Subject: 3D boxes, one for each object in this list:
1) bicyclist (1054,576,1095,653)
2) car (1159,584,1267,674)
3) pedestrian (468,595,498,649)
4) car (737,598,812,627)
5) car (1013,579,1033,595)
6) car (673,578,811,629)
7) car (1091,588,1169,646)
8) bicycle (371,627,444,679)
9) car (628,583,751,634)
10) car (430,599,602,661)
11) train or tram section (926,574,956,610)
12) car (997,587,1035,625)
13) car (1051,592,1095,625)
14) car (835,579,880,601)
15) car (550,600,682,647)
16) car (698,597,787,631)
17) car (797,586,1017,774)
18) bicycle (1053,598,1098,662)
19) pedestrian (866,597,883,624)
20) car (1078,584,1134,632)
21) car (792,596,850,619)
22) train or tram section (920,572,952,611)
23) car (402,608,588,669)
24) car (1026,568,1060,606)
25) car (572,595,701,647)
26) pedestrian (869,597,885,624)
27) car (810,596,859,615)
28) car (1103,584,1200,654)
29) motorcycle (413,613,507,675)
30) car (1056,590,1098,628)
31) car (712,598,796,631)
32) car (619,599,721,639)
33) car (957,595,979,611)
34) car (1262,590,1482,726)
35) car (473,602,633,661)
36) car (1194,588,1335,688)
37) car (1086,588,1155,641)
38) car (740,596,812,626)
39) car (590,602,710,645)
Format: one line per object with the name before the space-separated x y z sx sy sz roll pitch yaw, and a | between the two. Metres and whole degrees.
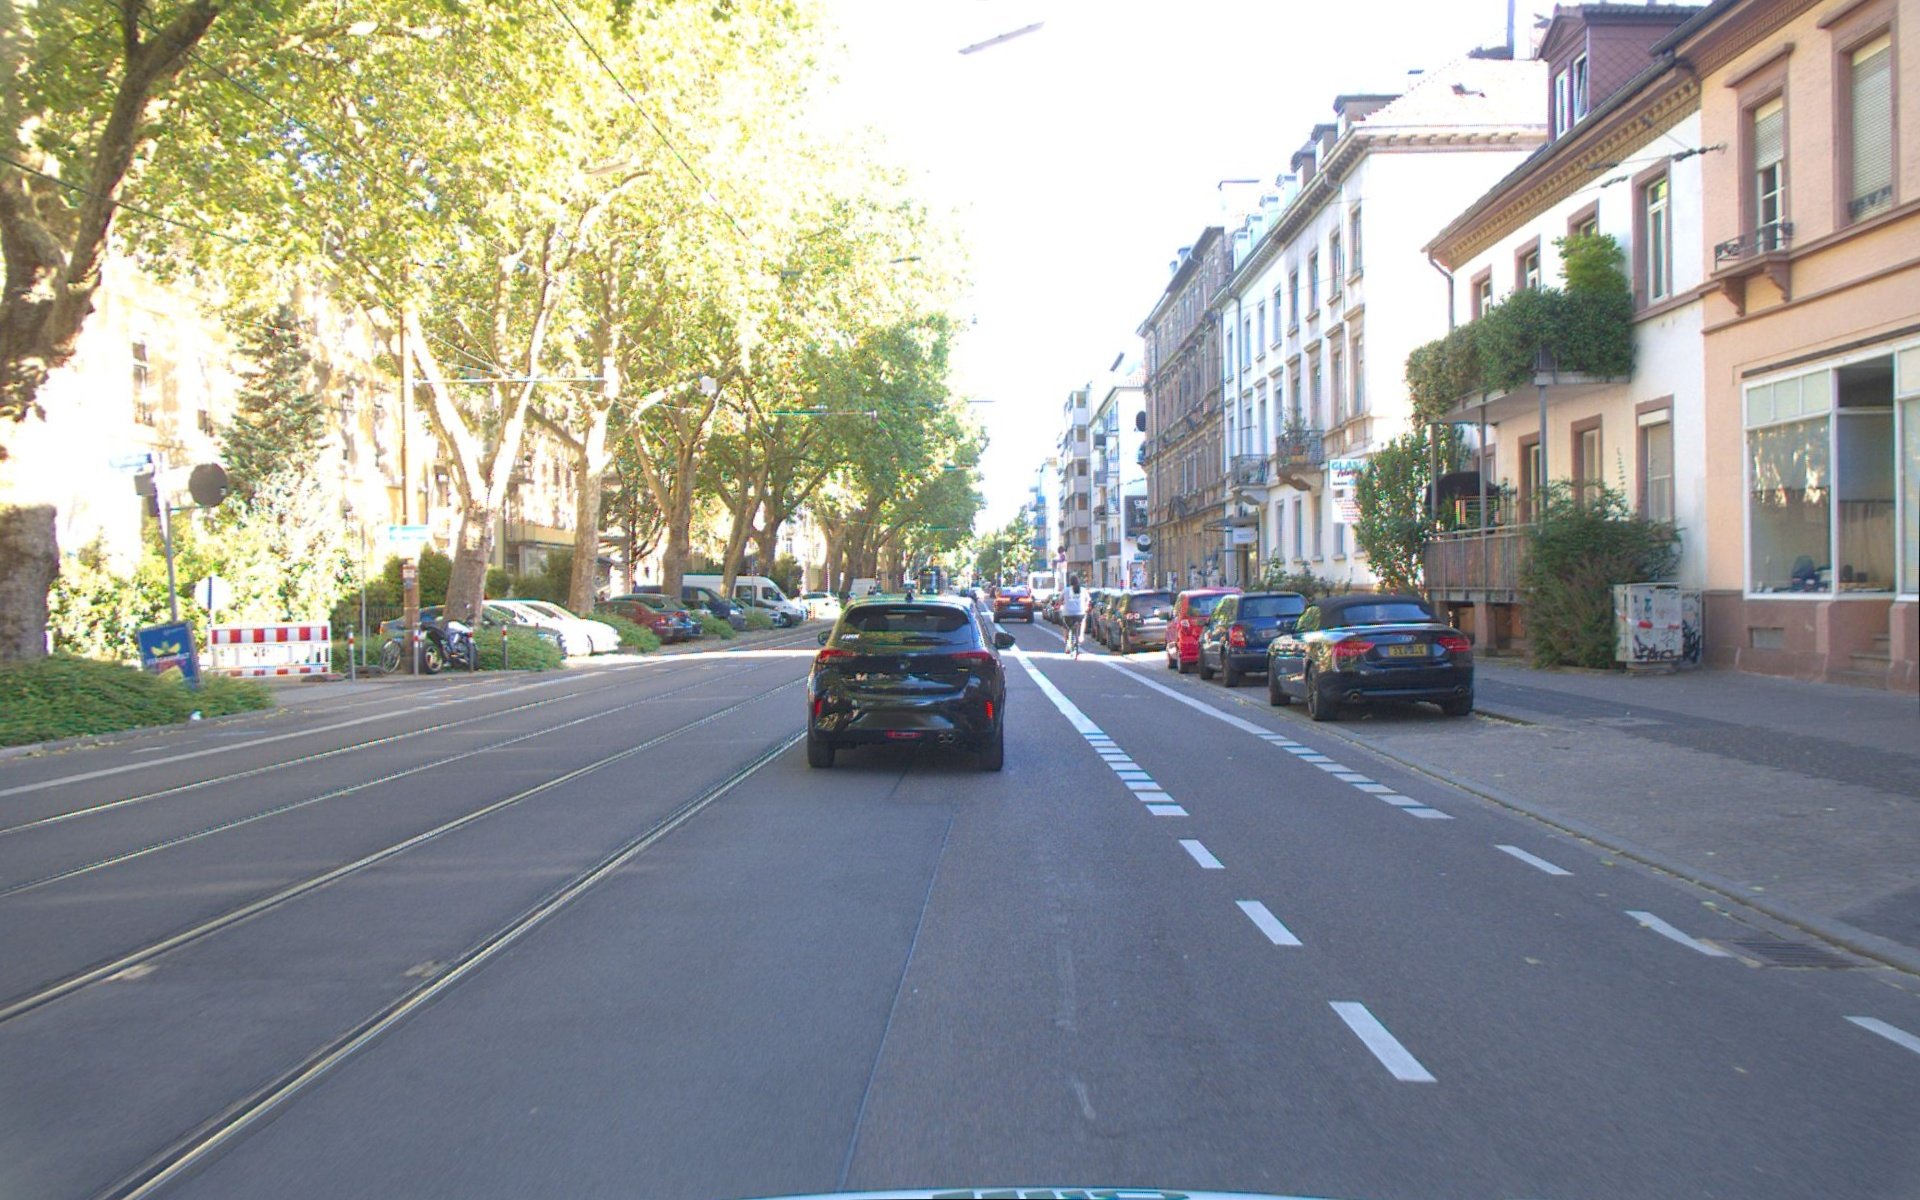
bicyclist | 2.661 0.327 38.546 0.831 1.770 1.162 -1 0 -1
car | 4.847 0.525 32.029 1.600 1.573 3.576 -2 0 2
pedestrian | -16.605 0.763 57.598 0.848 1.882 0.836 -1 0 -7
car | -9.962 0.669 88.970 3.841 1.524 1.676 1 0 -2
car | 6.080 -1.224 160.475 1.773 1.361 3.934 -4 0 2
car | -10.824 0.171 82.344 6.491 2.451 2.458 1 0 1
car | 4.887 0.476 47.905 1.762 1.481 3.768 -4 0 0
bicycle | -11.132 1.061 33.397 0.529 0.957 2.036 0 0 8
car | -10.940 0.340 67.140 4.578 1.957 1.980 1 0 2
car | -11.187 0.752 41.829 3.841 1.478 1.800 -1 0 0
train or tram section | -2.025 -0.894 180.814 2.678 3.746 12.719 -2 0 2
car | 2.747 0.296 81.091 1.772 1.772 3.934 -1 0 2
car | 5.219 0.393 76.778 1.773 1.361 3.934 -4 0 2
car | -8.867 -0.862 143.815 3.841 1.821 1.676 1 0 -2
car | -11.027 0.743 53.167 3.839 1.467 1.749 1 0 1
car | -10.057 0.656 76.676 3.838 1.524 1.677 1 0 2
car | -0.415 0.628 15.036 1.757 1.466 3.531 -1 1 0
bicycle | 2.668 0.674 38.523 0.843 1.431 2.524 -1 0 -1
pedestrian | -5.183 0.643 100.124 0.761 1.594 0.672 0 0 -38
car | 5.173 0.273 58.884 1.675 1.509 3.765 -4 0 2
car | -9.504 0.479 113.356 3.841 1.524 1.676 1 0 -2
train or tram section | -2.379 -0.885 168.001 2.678 3.746 12.719 -2 0 2
car | -10.981 0.894 39.233 3.839 1.355 1.848 1 0 1
car | 5.497 -0.856 110.073 2.033 2.257 4.934 -4 0 2
car | -10.811 0.690 55.412 3.912 1.655 1.879 1 0 0
pedestrian | -5.055 0.640 100.938 0.761 1.594 0.672 0 0 -38
car | -10.201 0.463 134.428 3.841 1.524 1.676 1 0 -2
car | 4.964 0.481 43.361 1.843 1.613 3.931 -4 0 -3
motorcycle | -10.058 0.868 33.376 0.865 1.167 2.392 0 0 8
car | 5.124 0.385 72.475 1.669 1.481 3.699 -4 0 4
car | -9.953 0.689 79.930 3.840 1.524 1.677 1 0 -1
car | -11.247 0.735 64.318 3.657 1.524 1.746 1 0 0
car | 0.681 0.260 140.645 1.772 1.361 3.934 -1 0 2
car | 4.889 0.622 20.231 1.659 1.417 4.495 -2 0 2
car | -10.941 0.842 44.642 3.839 1.488 1.806 -1 0 1
car | 4.952 0.582 27.372 1.617 1.481 3.868 -2 0 1
car | 5.089 0.451 52.866 1.841 1.481 4.026 -4 0 2
car | -10.142 0.598 91.433 3.841 1.605 1.676 1 0 -2
car | -10.797 0.800 57.817 3.840 1.446 1.818 1 0 -1
